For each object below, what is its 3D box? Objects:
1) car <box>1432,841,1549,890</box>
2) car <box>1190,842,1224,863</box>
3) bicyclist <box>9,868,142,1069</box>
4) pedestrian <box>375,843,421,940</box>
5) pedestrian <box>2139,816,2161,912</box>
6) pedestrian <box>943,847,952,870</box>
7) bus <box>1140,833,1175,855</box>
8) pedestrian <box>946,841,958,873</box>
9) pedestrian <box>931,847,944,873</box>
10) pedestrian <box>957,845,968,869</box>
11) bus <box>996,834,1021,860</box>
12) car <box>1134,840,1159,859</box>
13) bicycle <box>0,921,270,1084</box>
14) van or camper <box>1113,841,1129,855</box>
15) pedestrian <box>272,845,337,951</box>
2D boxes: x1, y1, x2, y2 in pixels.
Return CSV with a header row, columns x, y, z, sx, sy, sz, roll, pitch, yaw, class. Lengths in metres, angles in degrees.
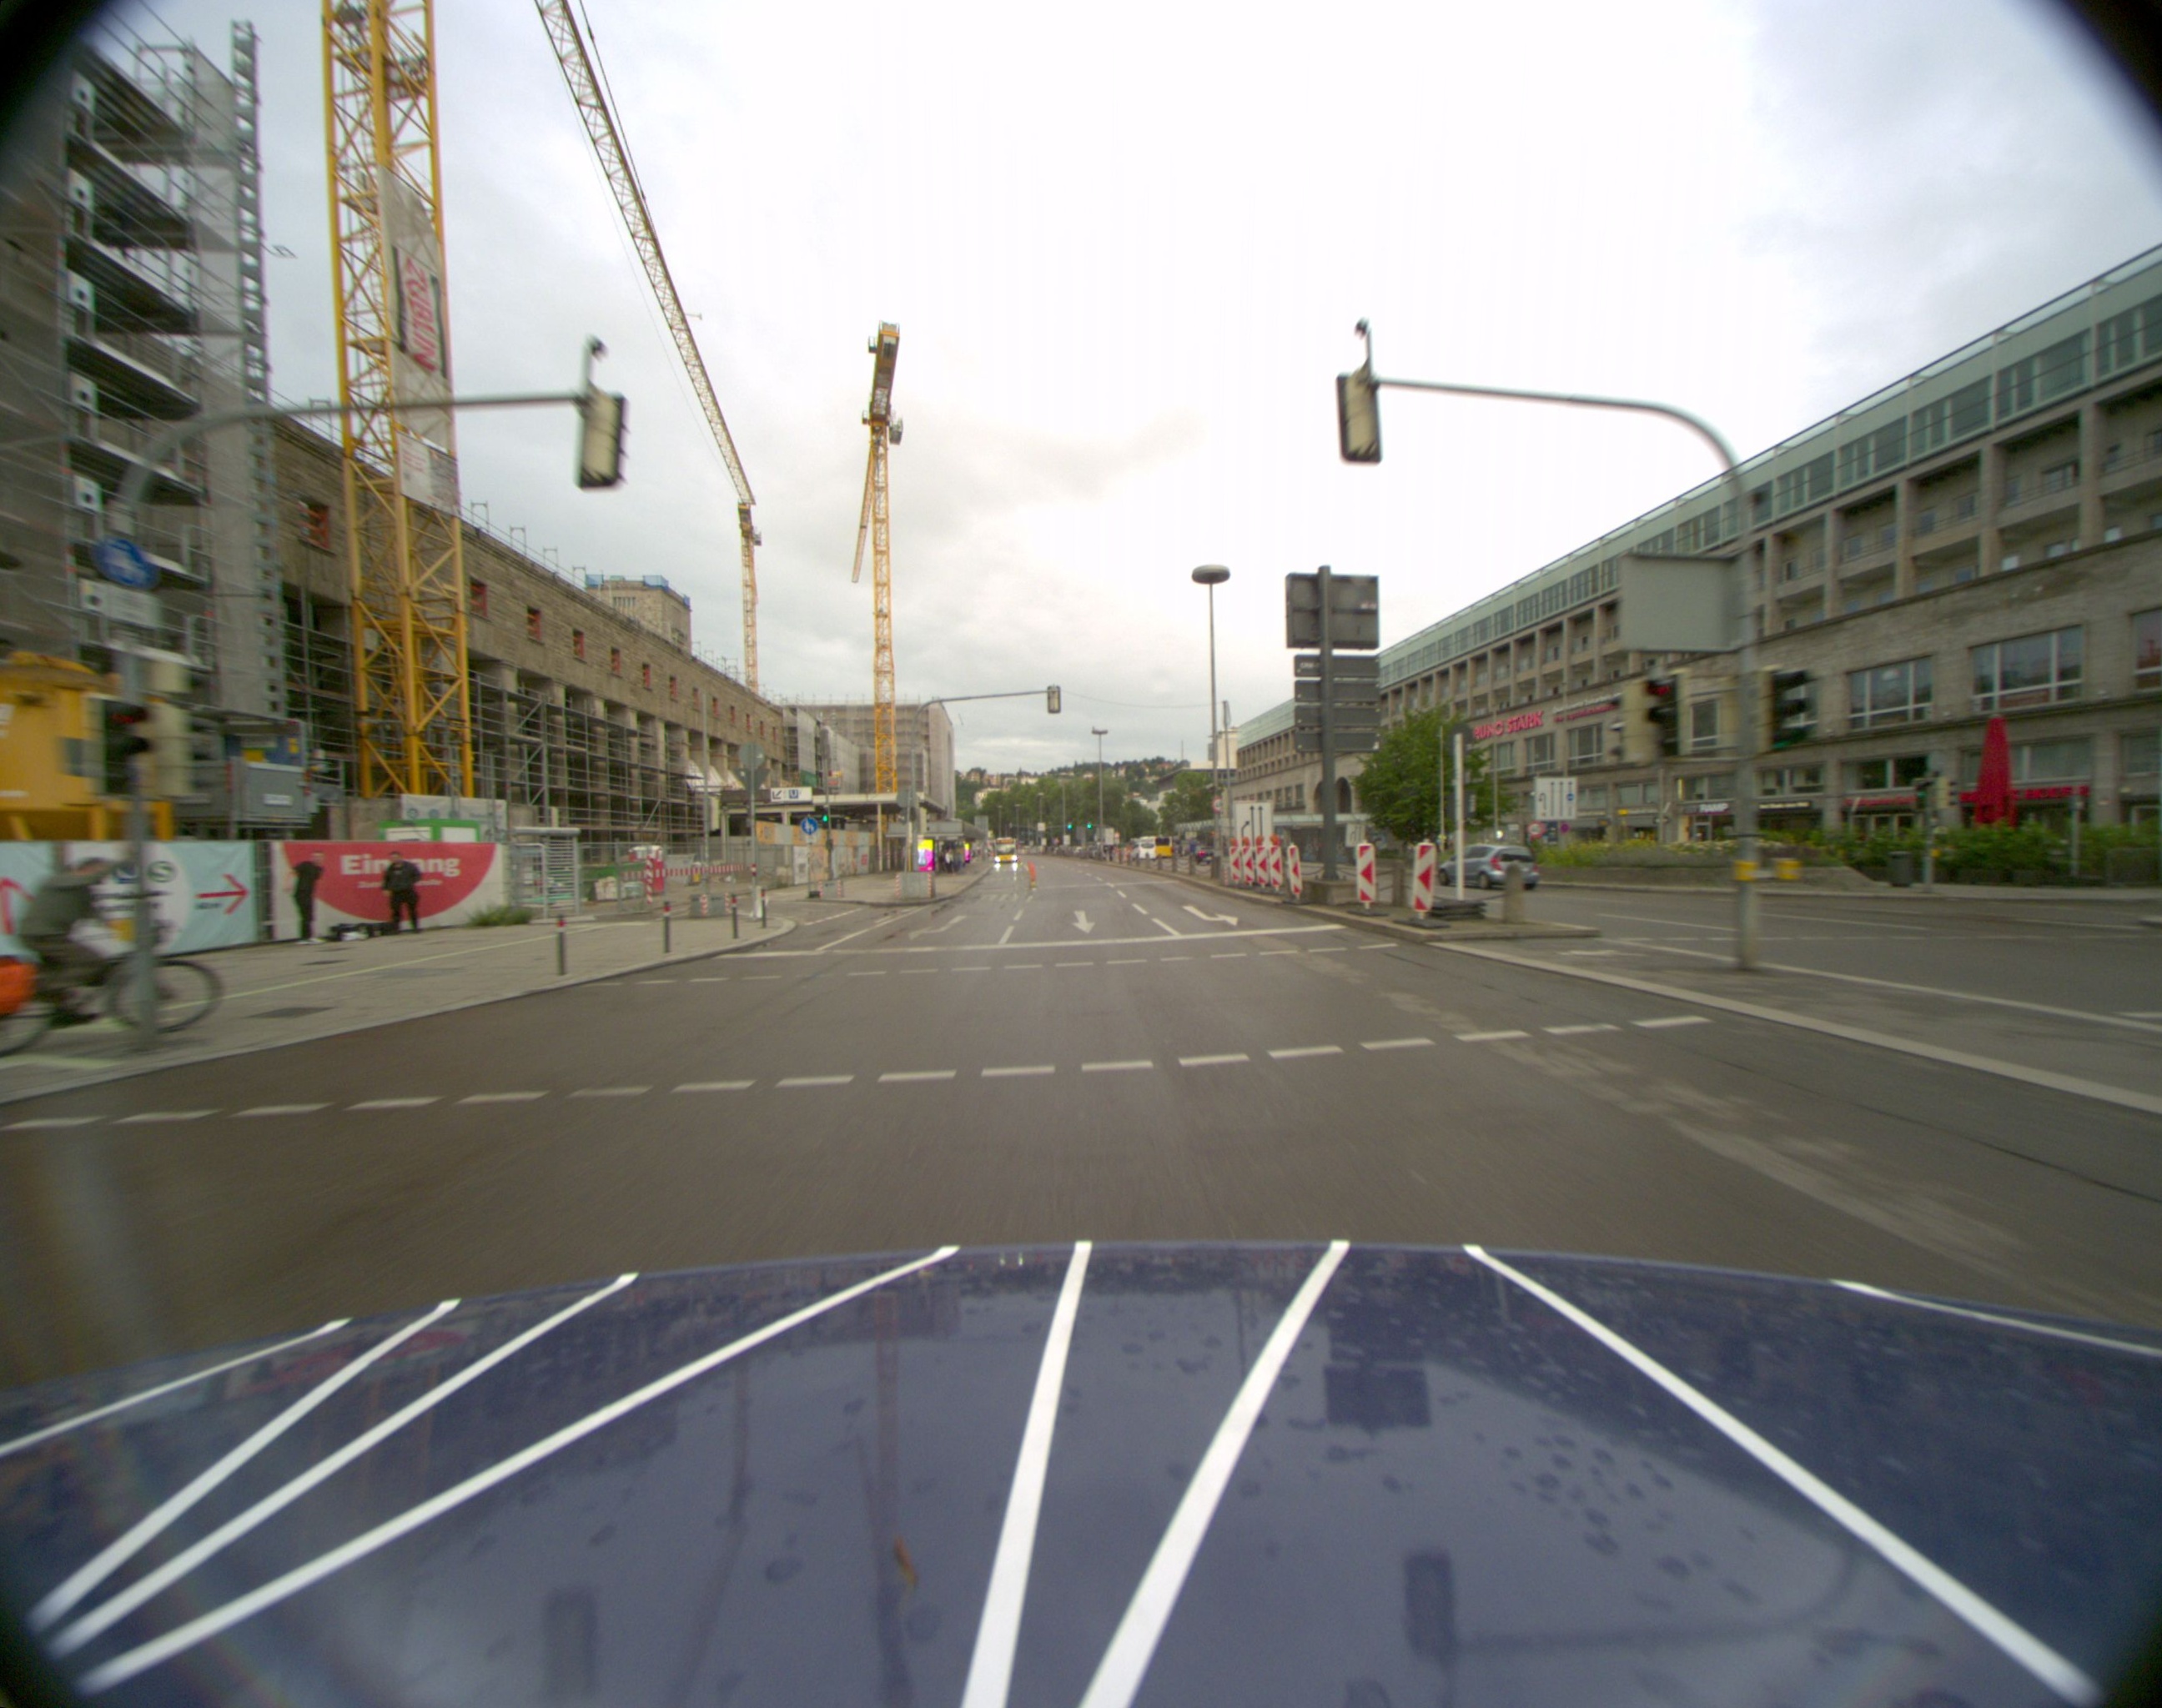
x,y,z,sx,sy,sz,roll,pitch,yaw,class
14.410,0.348,27.001,1.759,1.612,3.998,-1,1,-4,car
10.826,-0.154,65.461,1.887,1.674,3.997,-1,1,-6,car
-8.901,0.981,6.735,0.696,1.695,0.434,0,1,14,bicyclist
-14.610,0.782,16.262,0.629,2.002,0.577,-2,1,-36,pedestrian
23.020,0.211,15.867,0.705,2.002,0.807,-1,1,-4,pedestrian
-9.738,0.317,55.499,0.545,1.684,0.558,0,1,0,pedestrian
10.795,-1.415,107.957,2.910,2.923,9.816,-1,1,-6,bus
-8.182,0.200,48.278,0.735,2.002,0.645,-1,1,-10,pedestrian
-9.539,0.386,50.595,0.681,1.684,0.619,0,1,2,pedestrian
-8.873,0.202,57.005,0.646,1.813,0.735,0,1,0,pedestrian
-8.978,-0.852,93.741,3.001,3.120,7.760,-1,1,-6,bus
6.895,-0.455,80.657,2.038,1.962,3.998,-1,1,-4,car
-8.881,1.280,6.842,0.755,1.127,1.994,-1,1,15,bicycle
5.914,-0.898,112.977,1.868,2.002,3.998,-1,1,-5,van or camper
-15.100,0.840,14.781,0.640,2.002,0.629,0,1,21,pedestrian
